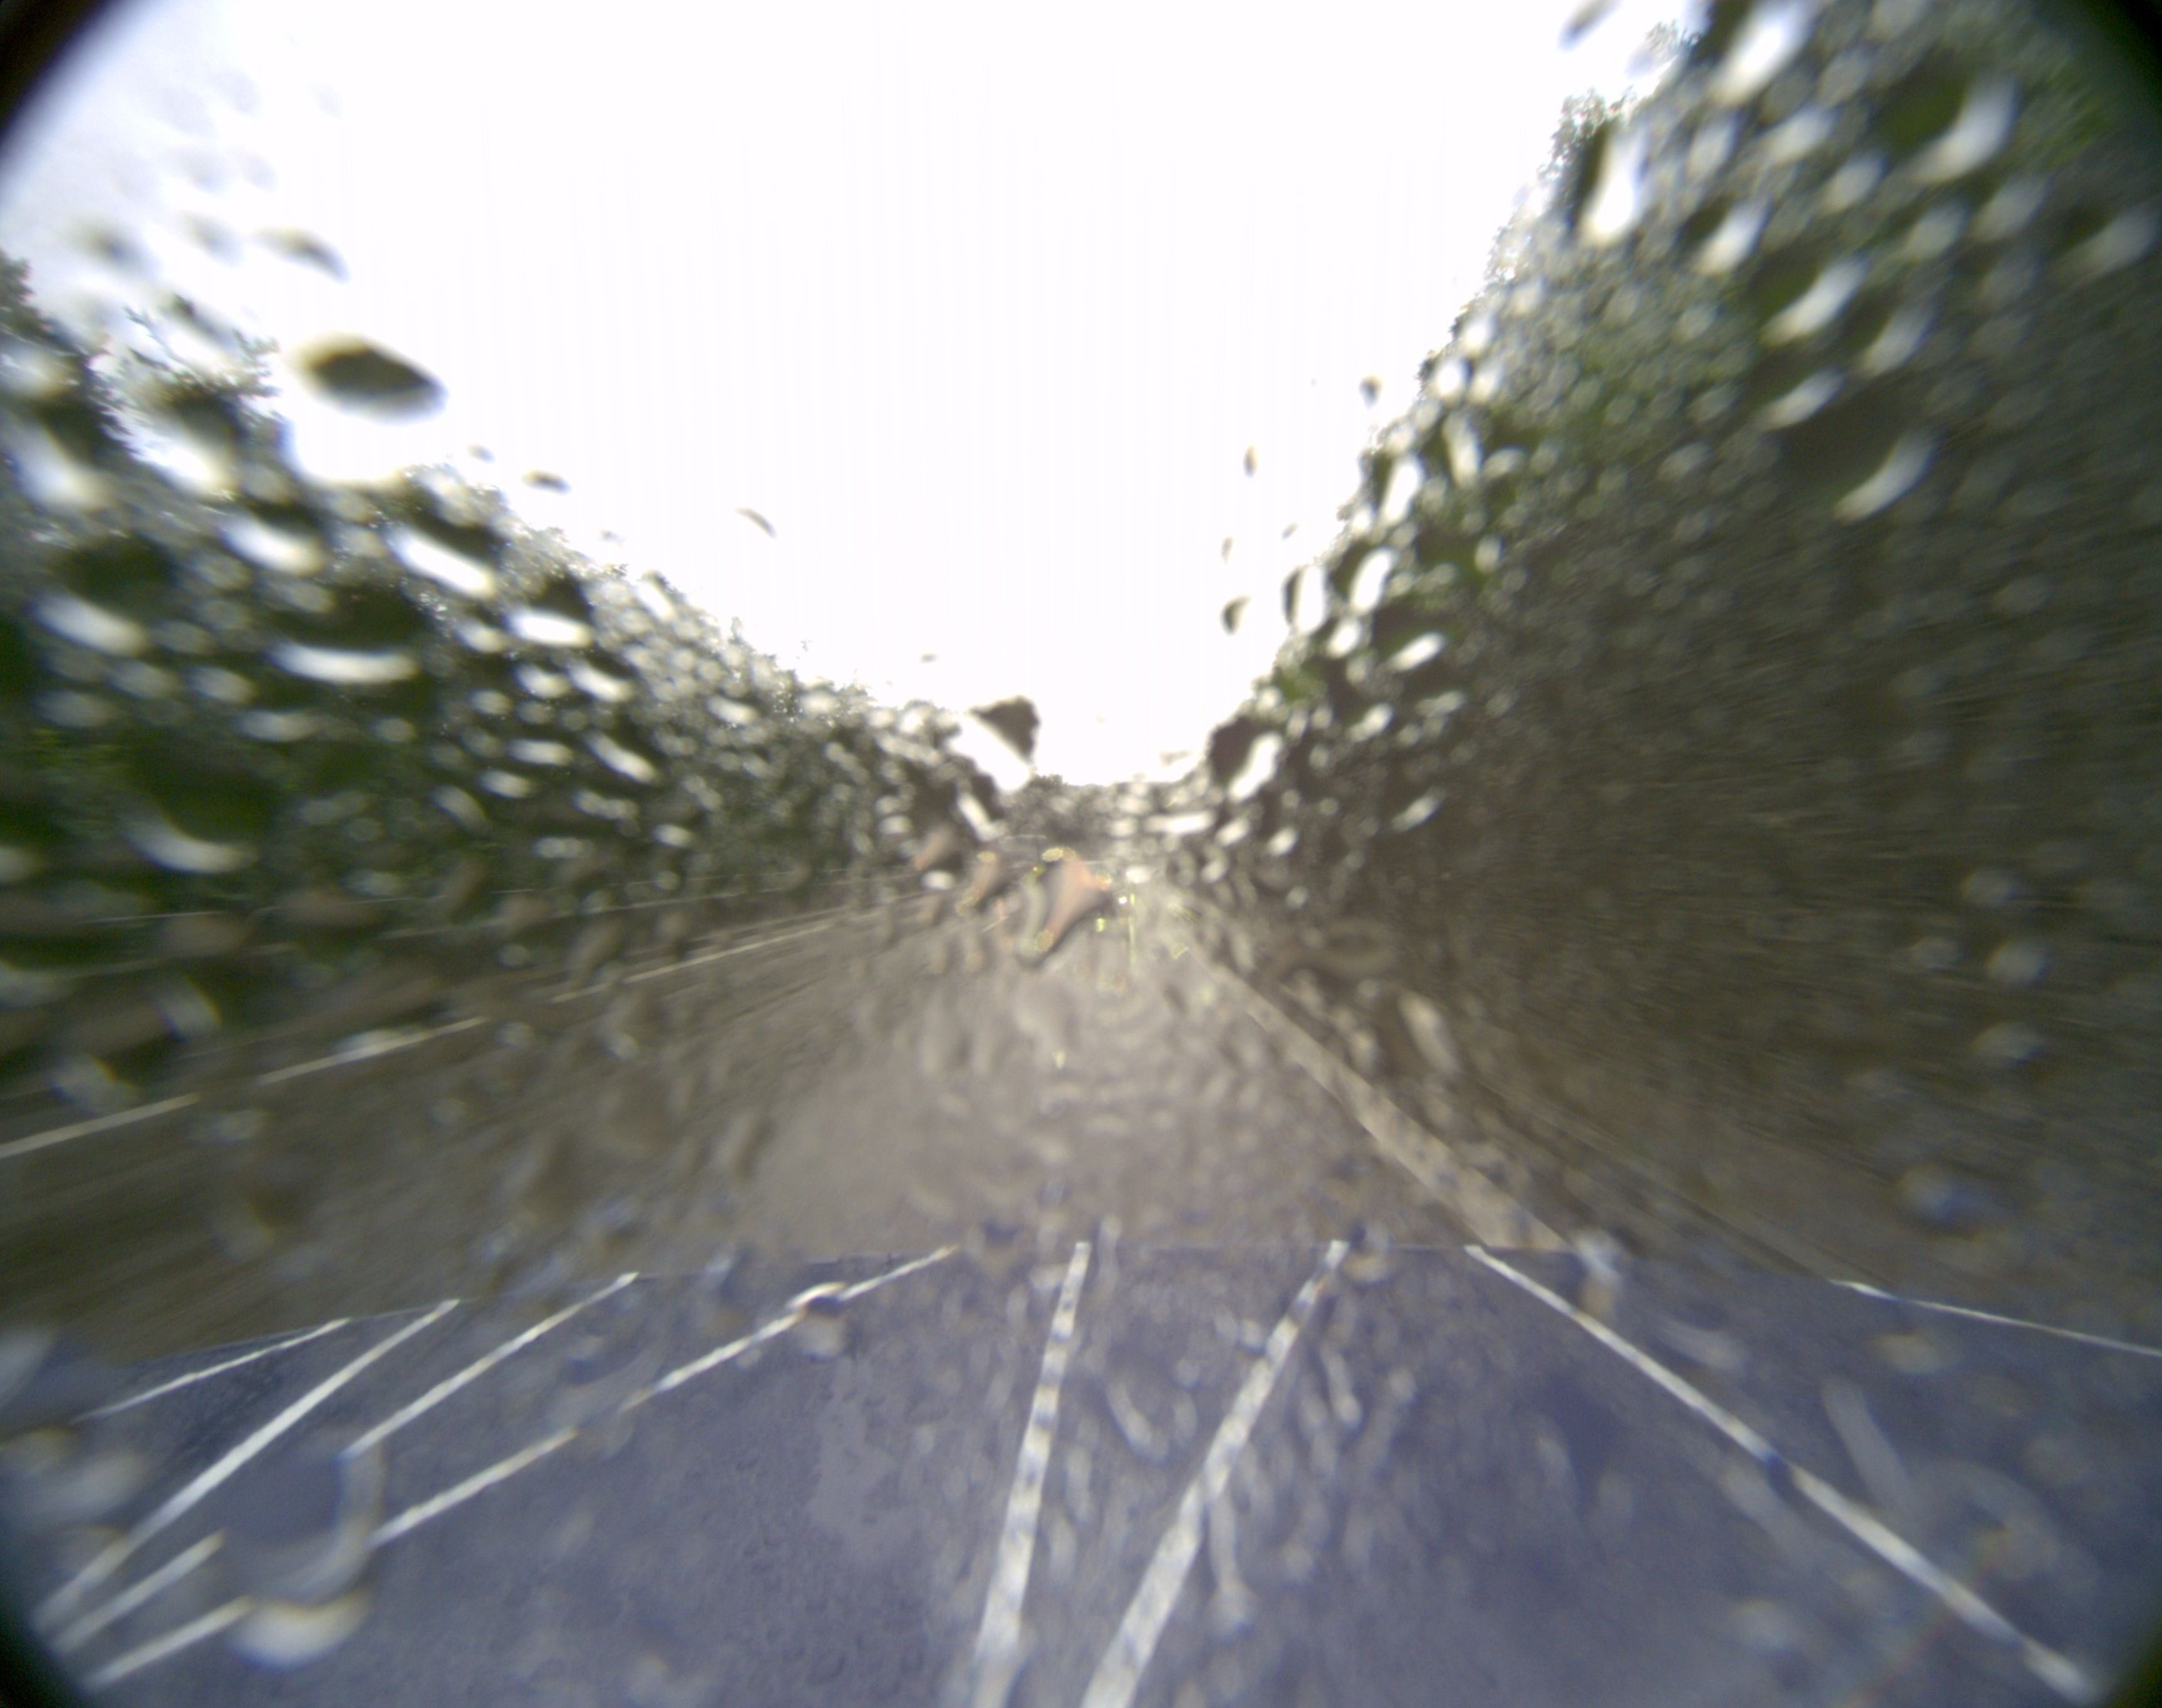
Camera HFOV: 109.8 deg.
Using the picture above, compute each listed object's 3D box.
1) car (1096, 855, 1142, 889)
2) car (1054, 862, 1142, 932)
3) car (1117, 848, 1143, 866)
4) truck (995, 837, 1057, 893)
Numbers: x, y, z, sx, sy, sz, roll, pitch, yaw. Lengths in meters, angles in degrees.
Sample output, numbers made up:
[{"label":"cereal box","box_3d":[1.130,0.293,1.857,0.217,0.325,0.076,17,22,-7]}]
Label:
[{"label":"car","box_3d":[1.850,0.814,35.921,1.826,1.375,4.002,-3,0,7]},{"label":"car","box_3d":[0.391,0.943,18.184,1.827,1.375,4.000,-2,0,1]},{"label":"car","box_3d":[4.332,0.247,66.361,1.826,1.375,4.003,-3,0,10]},{"label":"truck","box_3d":[-2.601,0.486,38.200,2.108,2.481,8.004,-1,0,3]}]
